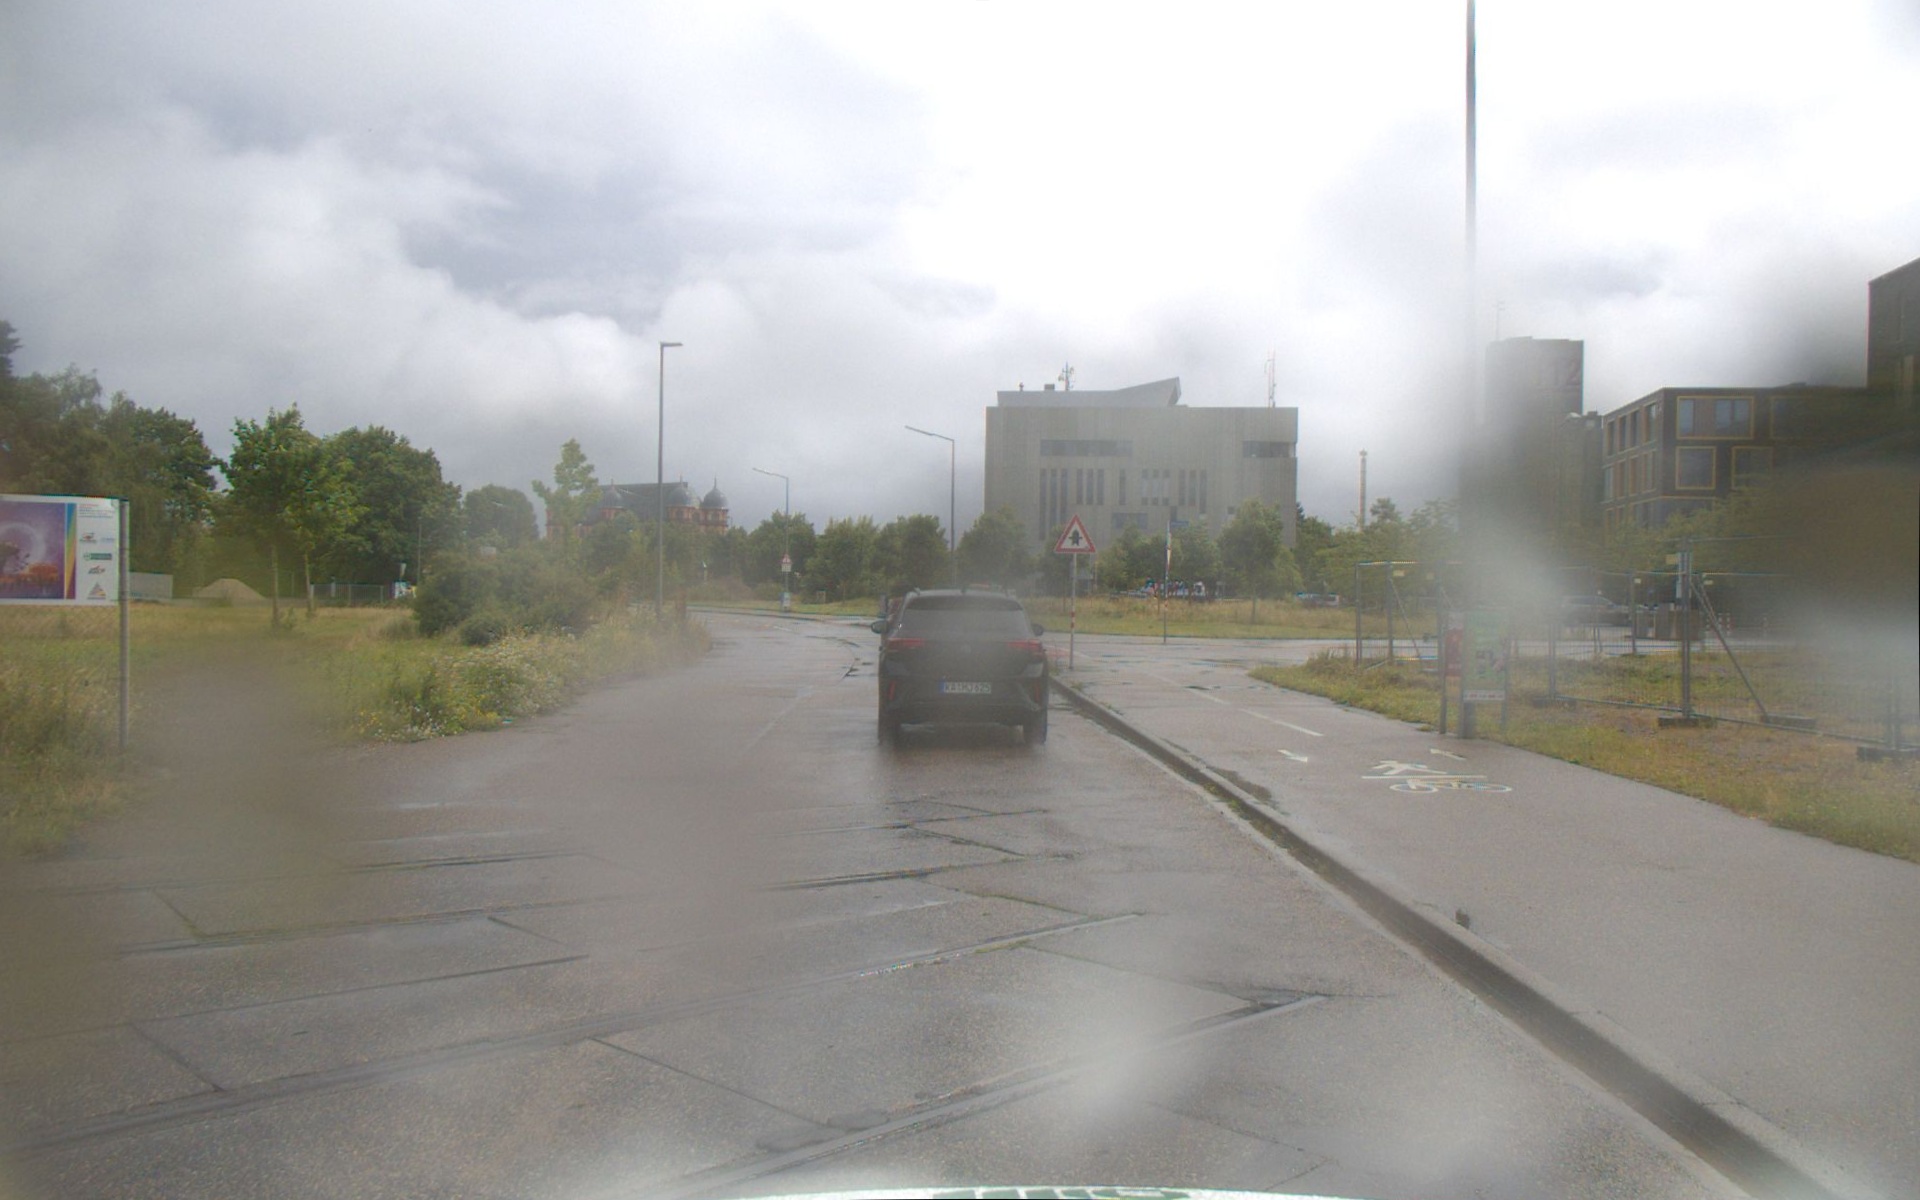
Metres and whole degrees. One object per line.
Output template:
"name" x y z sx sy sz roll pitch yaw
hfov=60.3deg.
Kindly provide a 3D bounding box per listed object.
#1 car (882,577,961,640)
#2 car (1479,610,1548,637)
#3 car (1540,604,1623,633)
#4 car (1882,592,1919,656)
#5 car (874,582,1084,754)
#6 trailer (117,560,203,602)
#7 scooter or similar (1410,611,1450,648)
"car" -1.028 0.194 42.188 1.805 1.467 3.997 -2 0 -4
"car" 39.115 1.653 116.961 4.445 1.792 2.002 1 0 12
"car" 34.820 1.049 92.787 4.115 1.585 1.668 0 0 12
"car" 27.302 0.672 44.457 3.903 1.646 2.001 1 -3 4
"car" 0.086 0.632 18.034 1.948 1.546 3.997 -3 1 -3
"trailer" -44.473 -1.031 91.982 4.062 2.126 1.823 2 -1 -34
"scooter or similar" 15.826 0.986 55.654 1.262 1.208 0.500 -1 2 -22
